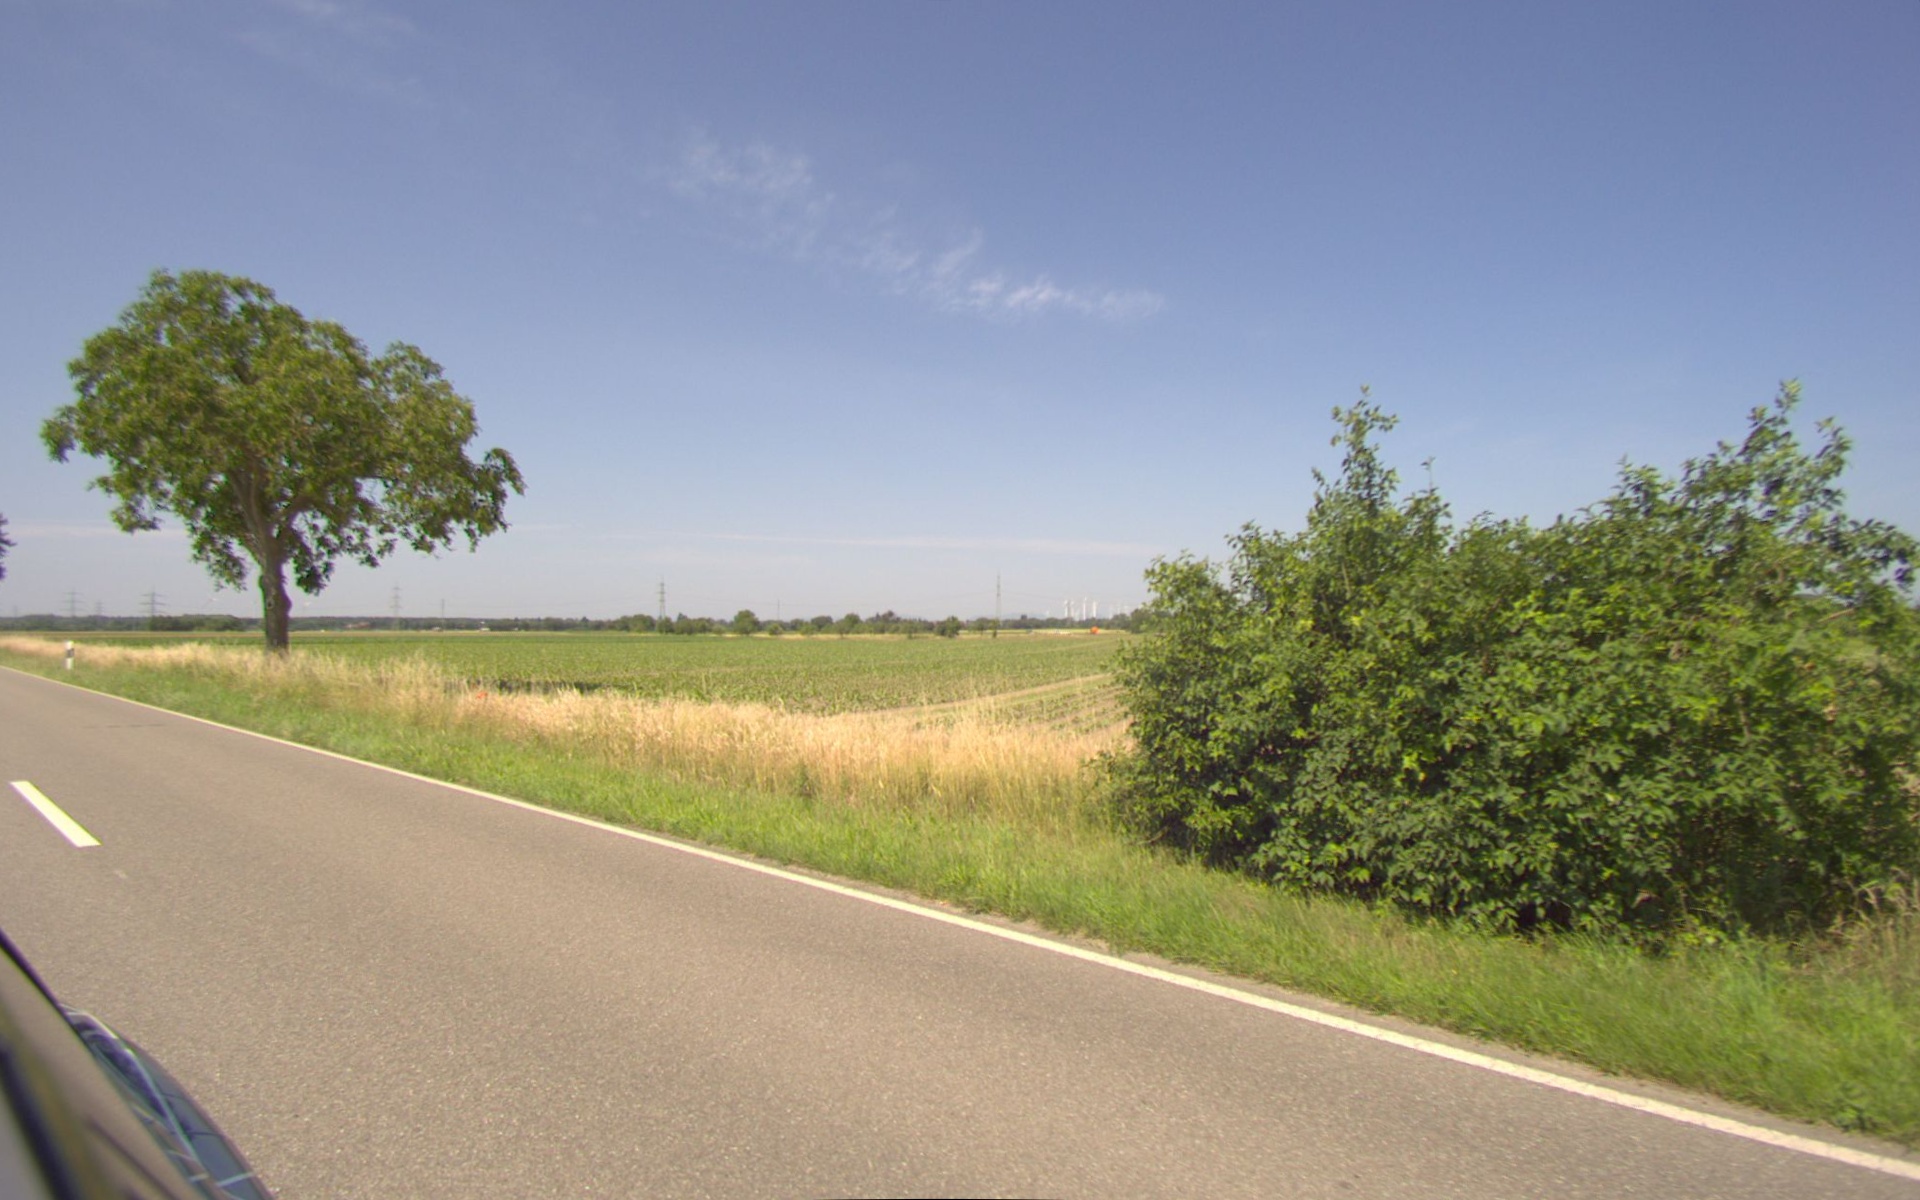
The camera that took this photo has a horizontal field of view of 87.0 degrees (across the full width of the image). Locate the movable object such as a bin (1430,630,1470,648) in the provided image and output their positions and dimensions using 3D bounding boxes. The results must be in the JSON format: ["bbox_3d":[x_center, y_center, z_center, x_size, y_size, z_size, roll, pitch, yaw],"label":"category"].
[{"bbox_3d":[111.095,8.852,229.439,2.505,3.878,10.003,1,-3,-12],"label":"movable object such as a bin"}]
